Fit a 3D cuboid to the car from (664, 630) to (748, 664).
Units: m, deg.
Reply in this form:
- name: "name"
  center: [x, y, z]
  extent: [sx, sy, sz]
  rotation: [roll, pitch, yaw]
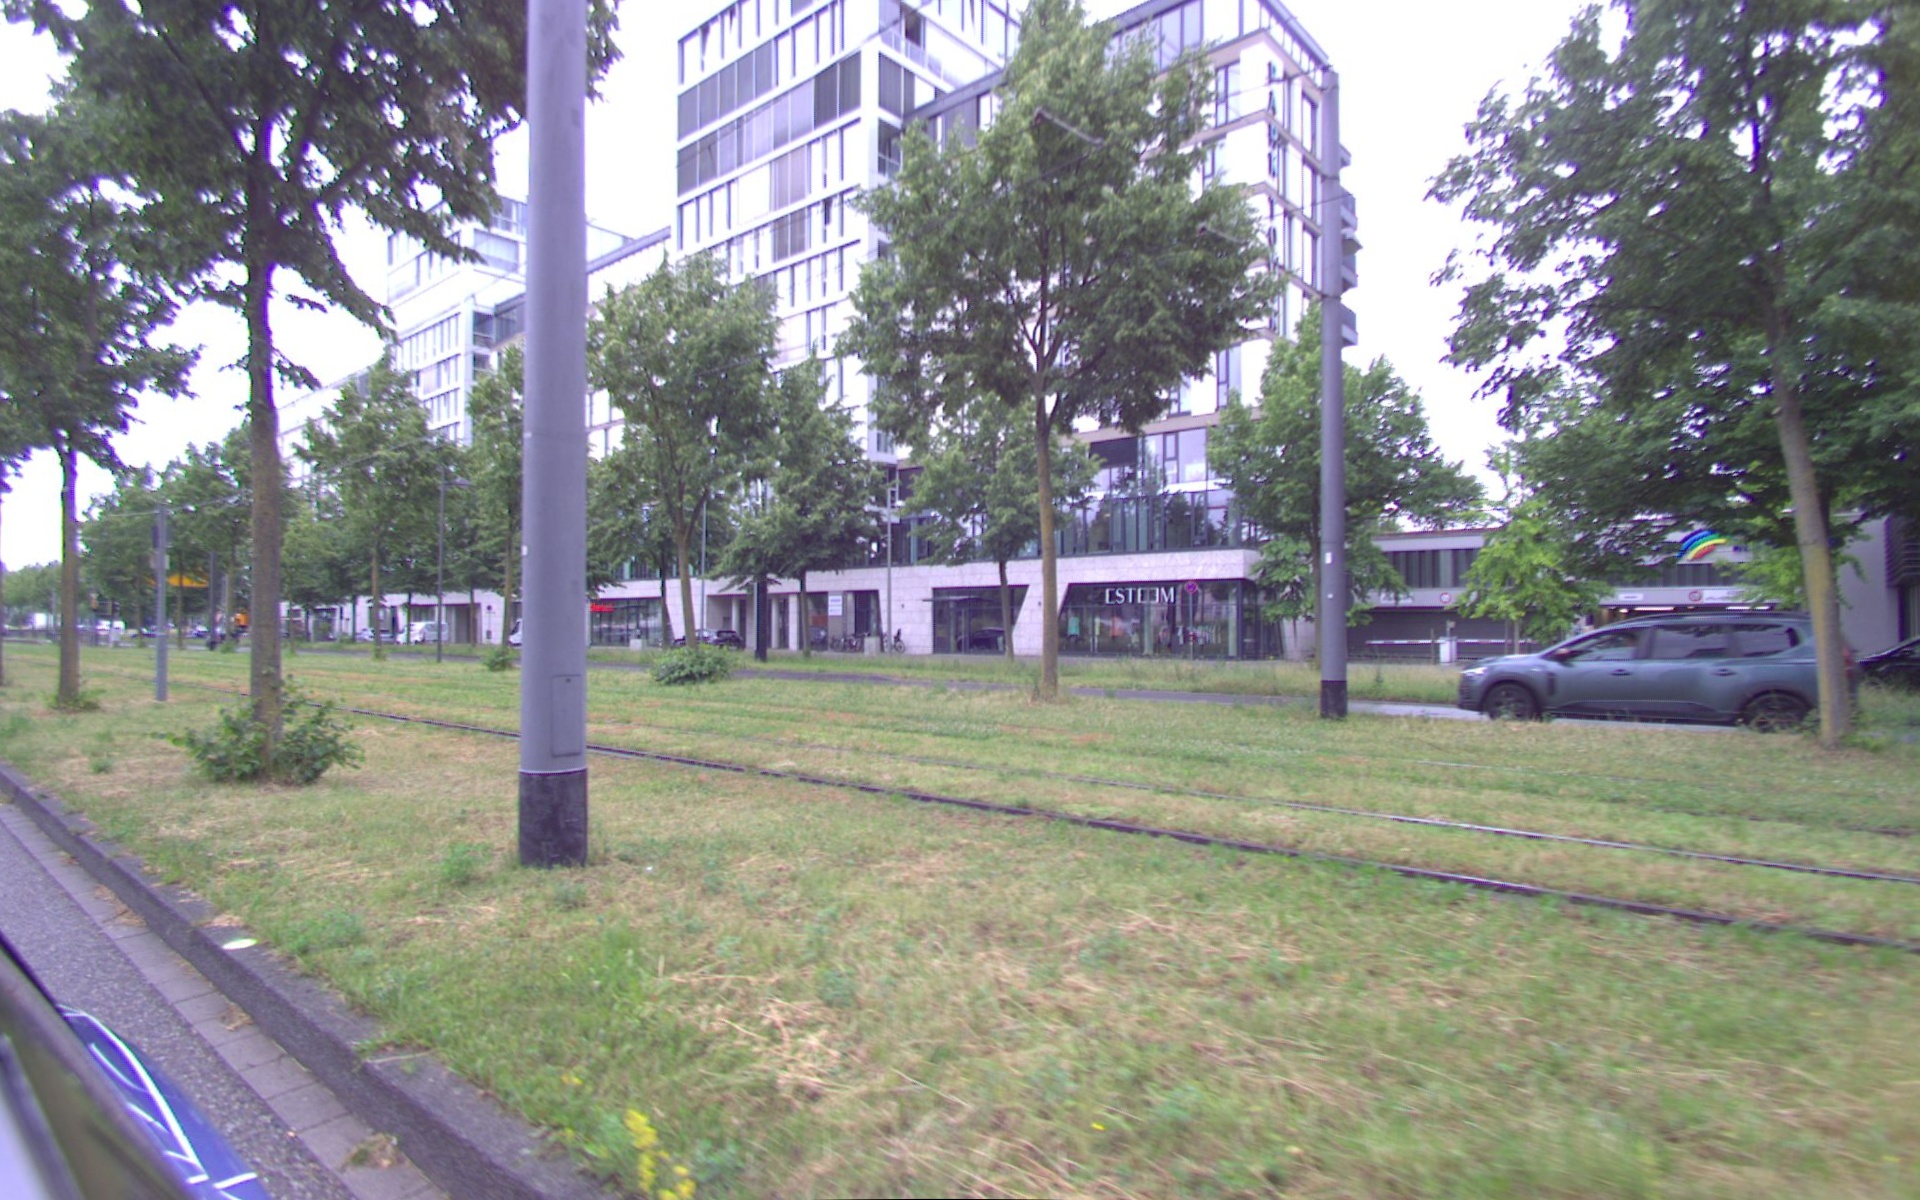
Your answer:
- name: "car"
  center: [-11.880, 2.169, 47.214]
  extent: [3.986, 1.476, 1.836]
  rotation: [-2, -2, 41]

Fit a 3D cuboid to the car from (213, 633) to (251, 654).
- name: "car"
  center: [-59.830, 3.596, 83.204]
  extent: [1.971, 1.669, 3.701]
  rotation: [1, -2, -45]

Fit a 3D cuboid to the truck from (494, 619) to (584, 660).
- name: "truck"
  center: [-24.940, 2.292, 59.801]
  extent: [6.305, 2.309, 2.401]
  rotation: [-2, -2, 41]

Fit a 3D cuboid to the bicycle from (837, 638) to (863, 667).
- name: "bicycle"
  center: [-5.921, 2.834, 54.509]
  extent: [0.546, 1.494, 1.417]
  rotation: [-2, -2, 40]

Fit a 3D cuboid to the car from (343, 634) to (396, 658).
- name: "car"
  center: [-44.335, 3.435, 75.984]
  extent: [4.461, 1.725, 2.122]
  rotation: [-2, -2, 41]

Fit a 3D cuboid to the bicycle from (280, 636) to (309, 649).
- name: "bicycle"
  center: [-57.333, 3.669, 87.174]
  extent: [0.696, 1.042, 1.957]
  rotation: [-2, -2, 42]

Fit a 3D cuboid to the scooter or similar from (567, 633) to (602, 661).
- name: "scooter or similar"
  center: [-25.589, 3.215, 68.917]
  extent: [0.883, 1.839, 2.105]
  rotation: [-2, -2, 37]

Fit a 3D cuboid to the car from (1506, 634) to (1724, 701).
- name: "car"
  center: [15.147, 1.507, 23.501]
  extent: [3.998, 1.389, 1.973]
  rotation: [-2, -2, 41]

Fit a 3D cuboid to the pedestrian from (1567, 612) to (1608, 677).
- name: "pedestrian"
  center: [19.698, 1.392, 31.795]
  extent: [0.784, 1.996, 0.857]
  rotation: [1, -2, -41]

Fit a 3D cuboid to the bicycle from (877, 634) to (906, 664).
- name: "bicycle"
  center: [-3.543, 2.536, 52.648]
  extent: [0.606, 1.550, 1.552]
  rotation: [-2, -2, 40]

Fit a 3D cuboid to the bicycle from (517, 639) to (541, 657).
- name: "bicycle"
  center: [-23.643, 2.607, 55.564]
  extent: [1.758, 0.952, 0.592]
  rotation: [-2, -2, 45]

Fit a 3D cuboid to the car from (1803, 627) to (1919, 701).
- name: "car"
  center: [19.272, 1.241, 19.977]
  extent: [3.998, 1.389, 1.973]
  rotation: [-2, -2, 41]

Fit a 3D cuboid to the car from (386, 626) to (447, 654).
- name: "car"
  center: [-37.890, 2.764, 70.484]
  extent: [5.161, 1.866, 1.973]
  rotation: [-2, -2, 40]

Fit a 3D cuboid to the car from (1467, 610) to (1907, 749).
- name: "car"
  center: [9.389, 0.948, 13.389]
  extent: [4.477, 1.536, 1.843]
  rotation: [-2, -2, 42]
